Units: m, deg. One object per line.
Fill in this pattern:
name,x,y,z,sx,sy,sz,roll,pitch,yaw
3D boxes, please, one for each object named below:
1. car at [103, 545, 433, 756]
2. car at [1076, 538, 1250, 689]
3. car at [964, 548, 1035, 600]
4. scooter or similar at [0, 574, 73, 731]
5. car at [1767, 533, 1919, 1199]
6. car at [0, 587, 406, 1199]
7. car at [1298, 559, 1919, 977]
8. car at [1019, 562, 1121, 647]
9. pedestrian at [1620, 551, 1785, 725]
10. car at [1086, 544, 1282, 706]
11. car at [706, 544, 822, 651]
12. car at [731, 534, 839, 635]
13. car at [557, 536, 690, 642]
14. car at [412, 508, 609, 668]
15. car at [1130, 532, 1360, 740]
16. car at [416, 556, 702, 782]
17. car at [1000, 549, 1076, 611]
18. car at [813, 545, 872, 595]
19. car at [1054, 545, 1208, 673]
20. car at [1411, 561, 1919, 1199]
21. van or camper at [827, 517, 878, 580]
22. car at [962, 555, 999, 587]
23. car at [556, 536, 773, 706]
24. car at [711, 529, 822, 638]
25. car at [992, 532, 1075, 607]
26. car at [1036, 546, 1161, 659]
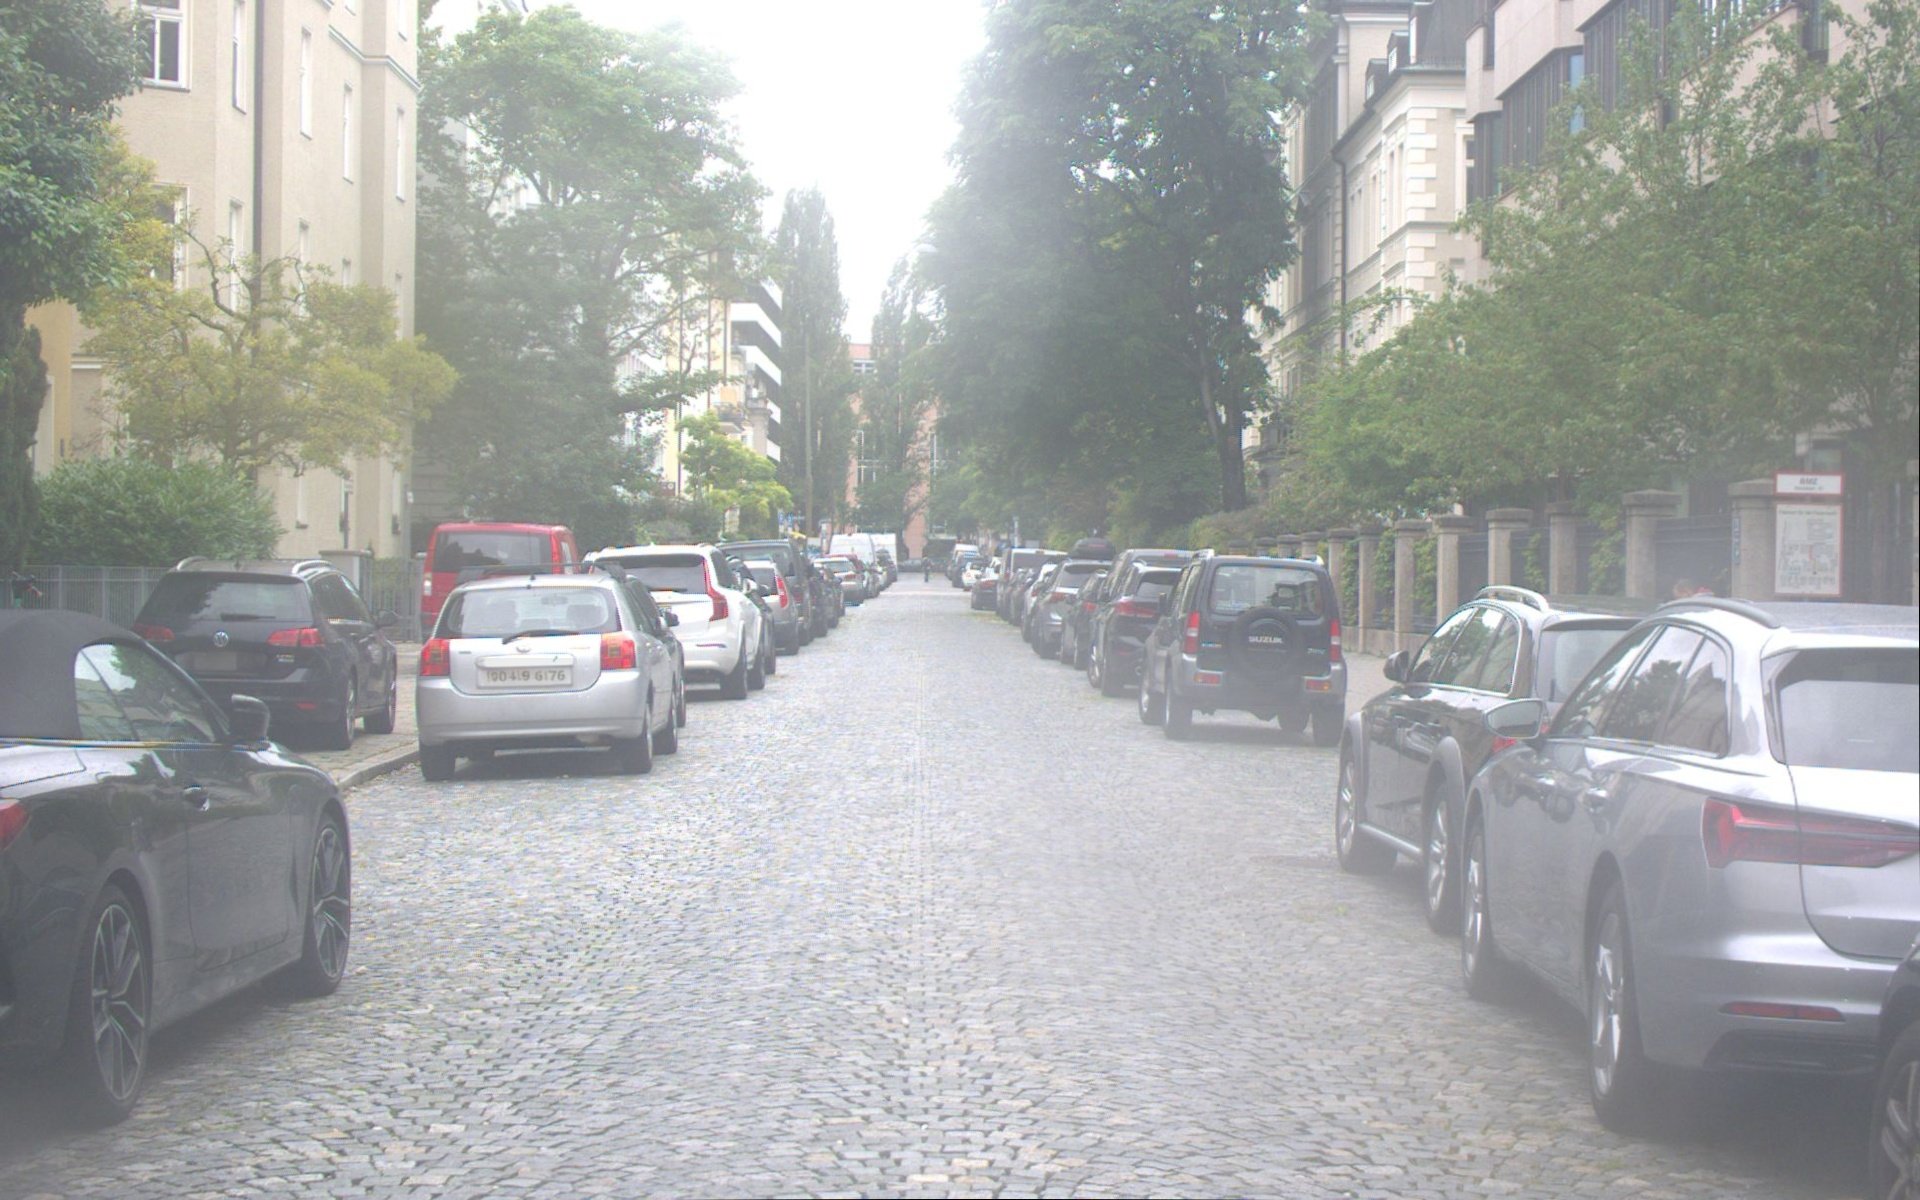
car,-5.508,0.343,27.935,1.715,1.492,4.722,3,1,-1
car,2.671,0.142,46.140,1.788,1.790,4.510,4,1,-2
car,1.218,-0.819,107.683,1.873,1.498,4.512,3,1,-3
scooter or similar,-7.856,0.399,27.755,0.956,1.196,1.522,3,1,0
car,2.888,0.734,5.885,1.893,1.648,4.294,2,1,-1
car,-3.033,0.731,10.519,1.814,1.450,4.913,-2,1,0
car,2.885,0.633,16.046,1.993,1.546,5.015,3,1,-1
car,2.158,0.059,68.120,1.873,1.485,4.617,3,1,1
pedestrian,6.633,0.326,30.766,1.217,1.488,1.129,-2,1,2
car,2.583,0.251,40.699,1.860,1.696,4.813,3,1,-1
car,-3.372,-0.080,59.342,1.865,1.729,4.404,-2,1,-3
car,-3.571,-0.340,70.867,1.993,1.910,5.178,-3,1,-1
car,-6.020,-0.224,61.977,1.945,1.729,4.658,3,1,-1
car,-5.865,-0.186,45.404,1.994,1.924,5.331,2,1,-2
car,2.602,0.288,32.218,1.618,1.745,3.887,3,1,-2
car,-2.995,0.461,26.481,1.713,1.557,4.391,-1,1,-1
car,2.028,-0.544,89.982,1.837,1.485,4.421,3,1,0
car,-3.972,-1.034,115.757,1.873,1.574,4.256,-2,1,-3
car,2.541,0.097,52.135,1.873,1.729,4.659,4,1,-1
car,2.765,0.694,10.824,1.993,1.546,4.986,2,1,0
van or camper,-4.616,-2.222,148.448,1.993,2.643,4.000,-2,1,0
car,1.002,-1.451,169.379,1.790,1.515,4.000,1,1,0
car,-3.345,0.198,39.848,2.006,1.803,5.174,-1,1,0
car,-3.584,-0.326,64.465,1.873,1.910,4.828,-2,1,-1
car,2.014,-0.856,95.696,1.873,1.922,5.165,3,1,-3
car,2.260,0.012,57.216,1.873,1.729,4.892,3,1,1
